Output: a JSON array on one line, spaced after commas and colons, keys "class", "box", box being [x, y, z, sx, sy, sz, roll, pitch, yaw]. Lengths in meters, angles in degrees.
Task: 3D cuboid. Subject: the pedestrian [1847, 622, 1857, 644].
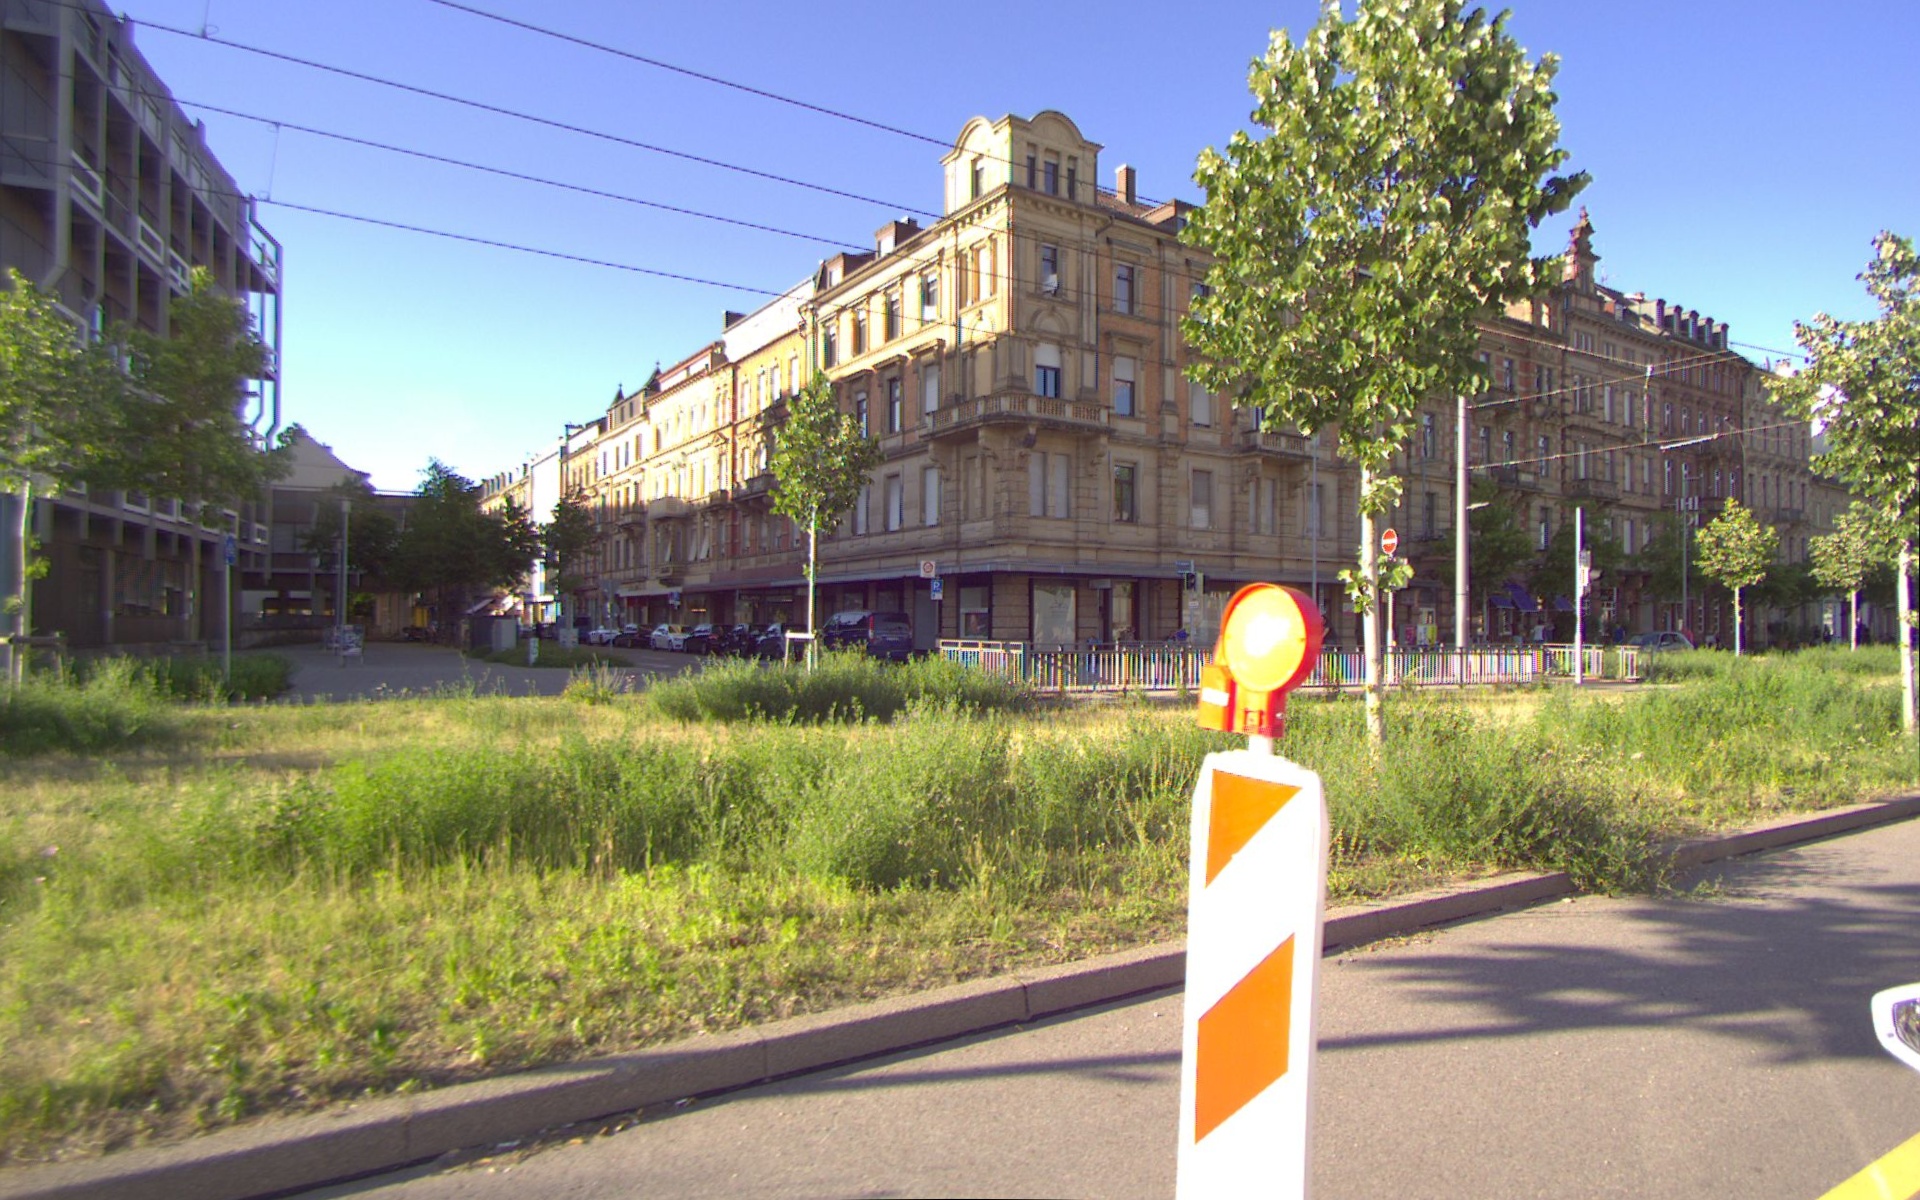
[{"class": "pedestrian", "box": [65.055, 2.401, 73.248, 0.430, 1.555, 0.403, 1, 1, -32]}]

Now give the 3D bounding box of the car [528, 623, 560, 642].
[{"class": "car", "box": [-32.122, 2.476, 77.533, 1.557, 1.397, 3.661, 0, -1, -35]}]

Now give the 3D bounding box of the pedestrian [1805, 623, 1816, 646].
[{"class": "pedestrian", "box": [59.830, 2.421, 70.657, 0.381, 1.606, 0.431, 1, 1, -34]}]

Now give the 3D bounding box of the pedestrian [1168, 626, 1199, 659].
[{"class": "pedestrian", "box": [8.581, 1.627, 38.579, 0.919, 1.224, 0.686, 1, -1, -31]}]

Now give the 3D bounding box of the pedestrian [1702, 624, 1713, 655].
[{"class": "pedestrian", "box": [44.216, 2.332, 59.411, 0.402, 1.788, 0.365, 1, 1, -32]}]

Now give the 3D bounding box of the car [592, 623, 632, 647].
[{"class": "car", "box": [-21.447, 2.141, 61.870, 1.490, 1.428, 3.016, 1, -2, -36]}]

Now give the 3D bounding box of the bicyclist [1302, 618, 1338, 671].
[{"class": "bicyclist", "box": [11.547, 1.419, 32.248, 0.872, 1.679, 0.691, 1, -1, -31]}]

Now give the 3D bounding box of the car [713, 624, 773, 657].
[{"class": "car", "box": [-9.739, 1.793, 44.952, 1.565, 1.427, 3.032, 1, -2, -36]}]

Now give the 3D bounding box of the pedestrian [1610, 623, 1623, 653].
[{"class": "pedestrian", "box": [35.119, 2.042, 53.732, 0.421, 1.606, 0.401, 1, 1, -32]}]

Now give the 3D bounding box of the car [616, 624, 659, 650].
[{"class": "car", "box": [-18.404, 2.076, 57.341, 1.471, 1.427, 3.032, 1, -2, -36]}]

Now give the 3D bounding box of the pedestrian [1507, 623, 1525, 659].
[{"class": "pedestrian", "box": [25.700, 1.888, 46.458, 0.527, 1.606, 0.484, 1, 1, -32]}]

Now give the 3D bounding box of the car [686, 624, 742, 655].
[{"class": "car", "box": [-11.654, 1.856, 47.451, 1.565, 1.427, 3.032, 1, -2, -36]}]

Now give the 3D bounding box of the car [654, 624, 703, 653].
[{"class": "car", "box": [-14.505, 1.964, 51.659, 1.471, 1.427, 3.032, 1, -2, -36]}]

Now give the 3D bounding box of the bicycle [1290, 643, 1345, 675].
[{"class": "bicycle", "box": [11.453, 1.876, 32.179, 1.806, 0.991, 0.691, 1, -1, -32]}]

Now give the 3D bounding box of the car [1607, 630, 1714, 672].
[{"class": "car", "box": [26.423, 1.877, 37.853, 4.024, 1.439, 1.843, 1, 0, -32]}]

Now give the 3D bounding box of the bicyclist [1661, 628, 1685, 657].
[{"class": "bicyclist", "box": [31.158, 1.842, 43.875, 0.730, 1.256, 0.634, 1, -1, -31]}]

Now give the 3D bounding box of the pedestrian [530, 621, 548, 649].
[{"class": "pedestrian", "box": [-23.657, 1.946, 56.421, 0.605, 1.536, 0.736, 0, -1, 22]}]

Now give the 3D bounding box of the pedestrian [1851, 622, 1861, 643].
[{"class": "pedestrian", "box": [65.145, 2.355, 73.017, 0.430, 1.553, 0.403, 1, 1, -32]}]

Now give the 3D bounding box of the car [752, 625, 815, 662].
[{"class": "car", "box": [-7.344, 1.772, 41.691, 1.371, 1.488, 3.123, 1, -2, -36]}]

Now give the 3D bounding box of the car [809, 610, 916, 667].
[{"class": "car", "box": [-3.603, 1.366, 36.313, 1.880, 1.928, 4.478, 1, -2, -36]}]

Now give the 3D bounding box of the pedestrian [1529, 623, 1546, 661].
[{"class": "pedestrian", "box": [27.720, 2.026, 48.207, 0.402, 1.788, 0.505, 1, 1, -32]}]

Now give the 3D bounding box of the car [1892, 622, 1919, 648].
[{"class": "car", "box": [62.451, 2.270, 65.542, 3.767, 1.697, 1.558, 1, -1, -33]}]

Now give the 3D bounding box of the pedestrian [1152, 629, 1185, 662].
[{"class": "pedestrian", "box": [7.794, 1.691, 37.595, 0.919, 1.224, 0.787, 1, -1, -31]}]

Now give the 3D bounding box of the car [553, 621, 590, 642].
[{"class": "car", "box": [-27.161, 2.174, 70.149, 1.584, 1.427, 3.328, 1, -2, -36]}]

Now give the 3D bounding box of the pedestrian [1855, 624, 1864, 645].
[{"class": "pedestrian", "box": [68.769, 2.610, 76.797, 0.431, 1.606, 0.457, 1, 1, -39]}]

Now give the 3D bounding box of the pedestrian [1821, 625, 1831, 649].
[{"class": "pedestrian", "box": [60.291, 2.581, 69.939, 0.335, 1.606, 0.426, 1, 1, -30]}]

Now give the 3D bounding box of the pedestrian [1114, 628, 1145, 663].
[{"class": "pedestrian", "box": [6.236, 1.654, 36.907, 0.919, 1.263, 0.686, 1, -1, -31]}]

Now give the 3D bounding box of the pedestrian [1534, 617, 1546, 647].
[{"class": "pedestrian", "box": [31.512, 1.713, 54.562, 0.383, 1.606, 0.386, 2, 1, -1]}]

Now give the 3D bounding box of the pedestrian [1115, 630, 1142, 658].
[{"class": "pedestrian", "box": [6.403, 1.666, 38.163, 0.727, 1.073, 0.686, 1, -1, -31]}]
